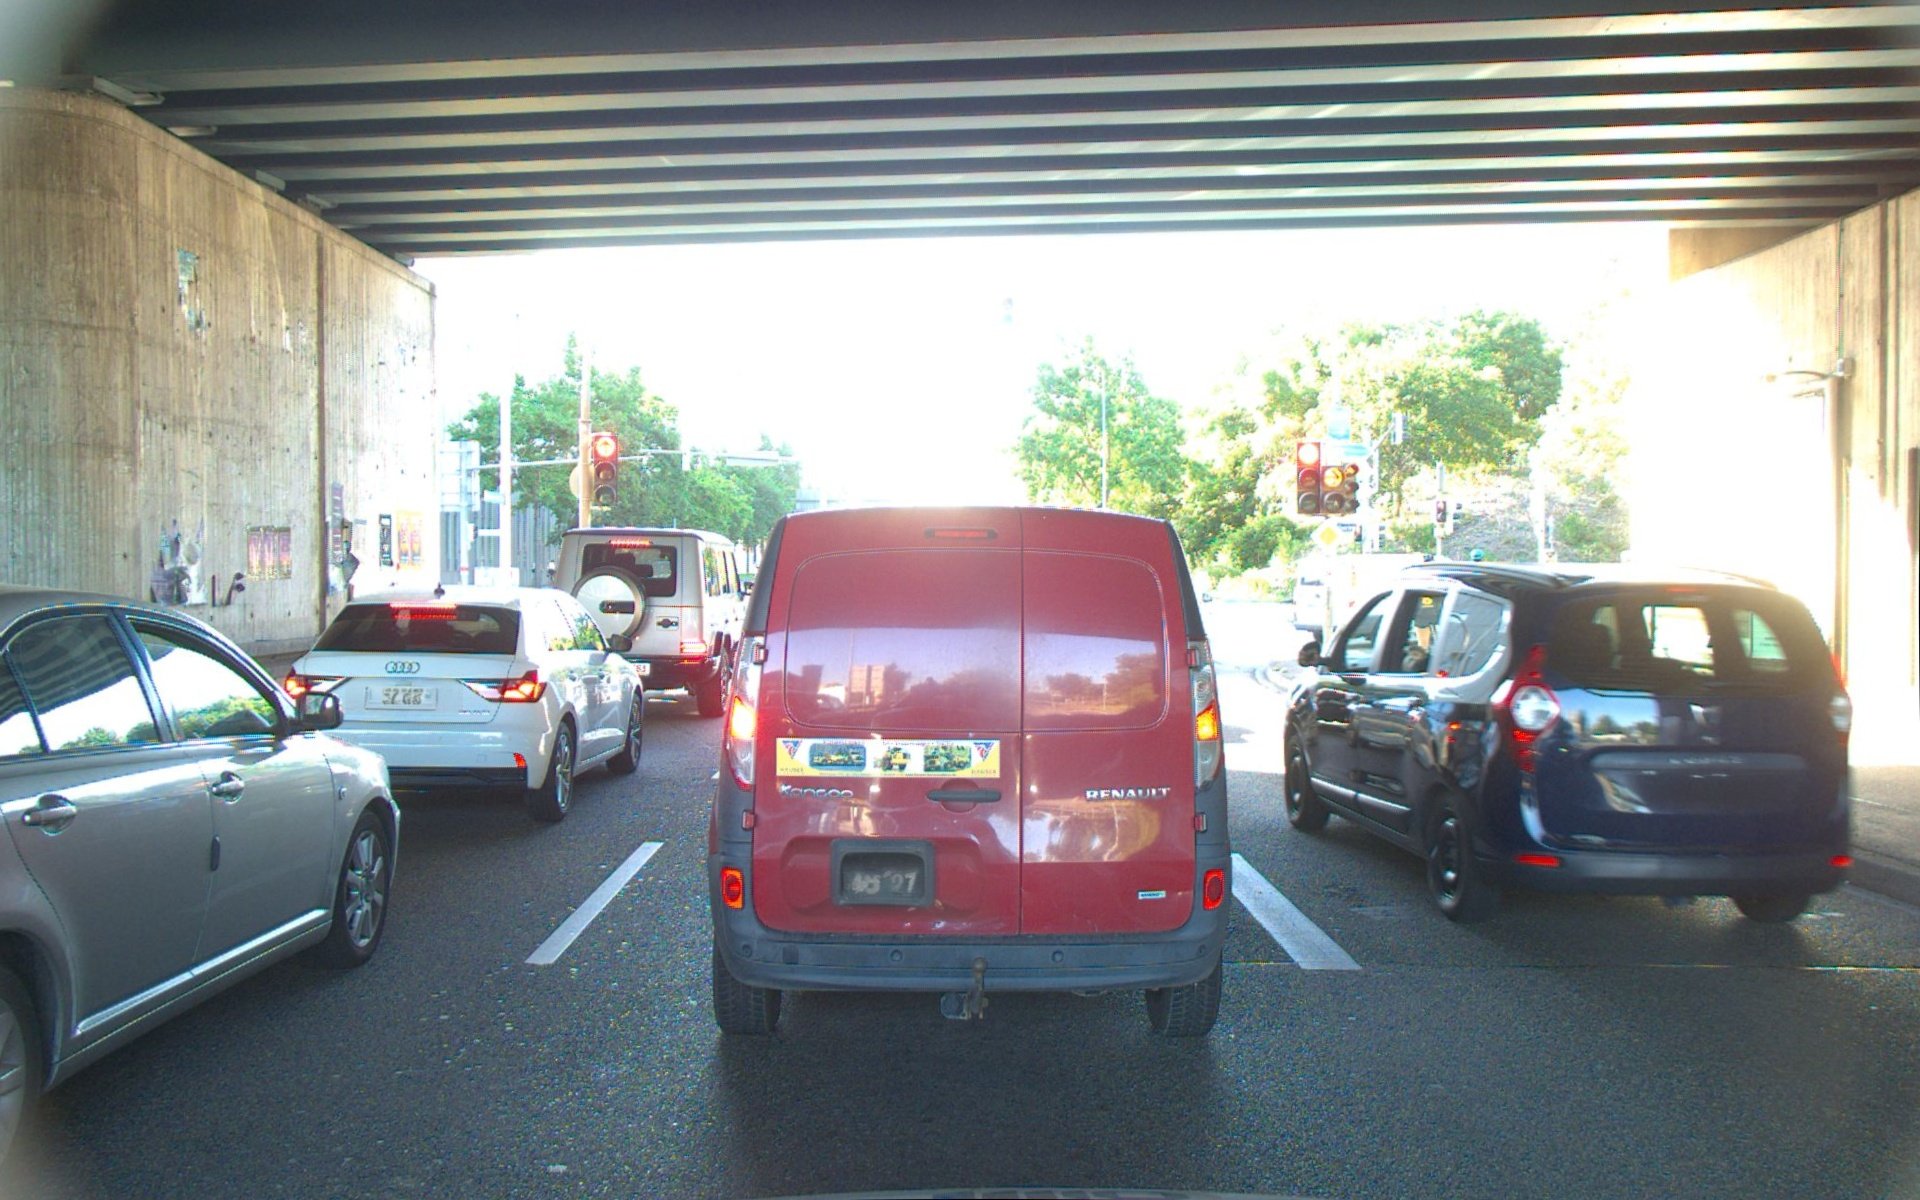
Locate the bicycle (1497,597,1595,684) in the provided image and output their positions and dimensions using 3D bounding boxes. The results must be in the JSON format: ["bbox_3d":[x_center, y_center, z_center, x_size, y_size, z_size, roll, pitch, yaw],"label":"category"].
[{"bbox_3d":[7.329,0.492,20.770,0.579,1.041,1.750,1,0,-1],"label":"bicycle"}]

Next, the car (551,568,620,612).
[{"bbox_3d":[-16.114,-0.442,71.367,1.787,1.768,4.630,-2,1,1],"label":"car"}]

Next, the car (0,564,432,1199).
[{"bbox_3d":[-3.005,0.667,4.806,1.698,1.506,4.317,0,0,-2],"label":"car"}]

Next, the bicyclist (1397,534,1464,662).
[{"bbox_3d":[6.204,-0.019,21.832,0.580,1.642,0.942,1,0,-1],"label":"bicyclist"}]

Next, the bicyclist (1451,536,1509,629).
[{"bbox_3d":[8.588,-0.280,27.319,0.655,1.500,0.746,0,-1,43],"label":"bicyclist"}]

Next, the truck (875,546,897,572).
[{"bbox_3d":[-9.113,-5.002,204.698,2.360,3.079,6.657,-2,1,0],"label":"truck"}]

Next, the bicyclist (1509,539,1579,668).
[{"bbox_3d":[7.324,0.043,20.768,0.580,1.575,0.769,1,-1,-1],"label":"bicyclist"}]

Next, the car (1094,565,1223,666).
[{"bbox_3d":[3.270,0.233,27.941,1.841,1.570,4.194,0,0,2],"label":"car"}]

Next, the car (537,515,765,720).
[{"bbox_3d":[-3.354,0.186,18.811,1.764,2.023,4.588,1,0,-1],"label":"car"}]

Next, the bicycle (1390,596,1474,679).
[{"bbox_3d":[6.211,0.477,21.833,0.579,1.041,1.750,1,0,-1],"label":"bicycle"}]

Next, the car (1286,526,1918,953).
[{"bbox_3d":[3.028,0.562,8.756,1.684,1.736,3.980,0,0,-2],"label":"car"}]

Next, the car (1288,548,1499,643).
[{"bbox_3d":[9.309,-0.092,35.389,4.596,1.918,1.864,0,0,-35],"label":"car"}]

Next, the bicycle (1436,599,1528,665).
[{"bbox_3d":[8.674,0.527,27.420,0.662,1.041,2.043,0,-1,42],"label":"bicycle"}]

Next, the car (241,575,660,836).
[{"bbox_3d":[-3.252,0.579,11.332,1.777,1.463,3.730,1,1,-1],"label":"car"}]

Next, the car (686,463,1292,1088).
[{"bbox_3d":[0.061,0.531,6.900,1.768,1.826,3.999,1,0,-1],"label":"car"}]

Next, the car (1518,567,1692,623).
[{"bbox_3d":[18.980,-0.149,48.821,4.451,1.540,1.829,1,0,6],"label":"car"}]
